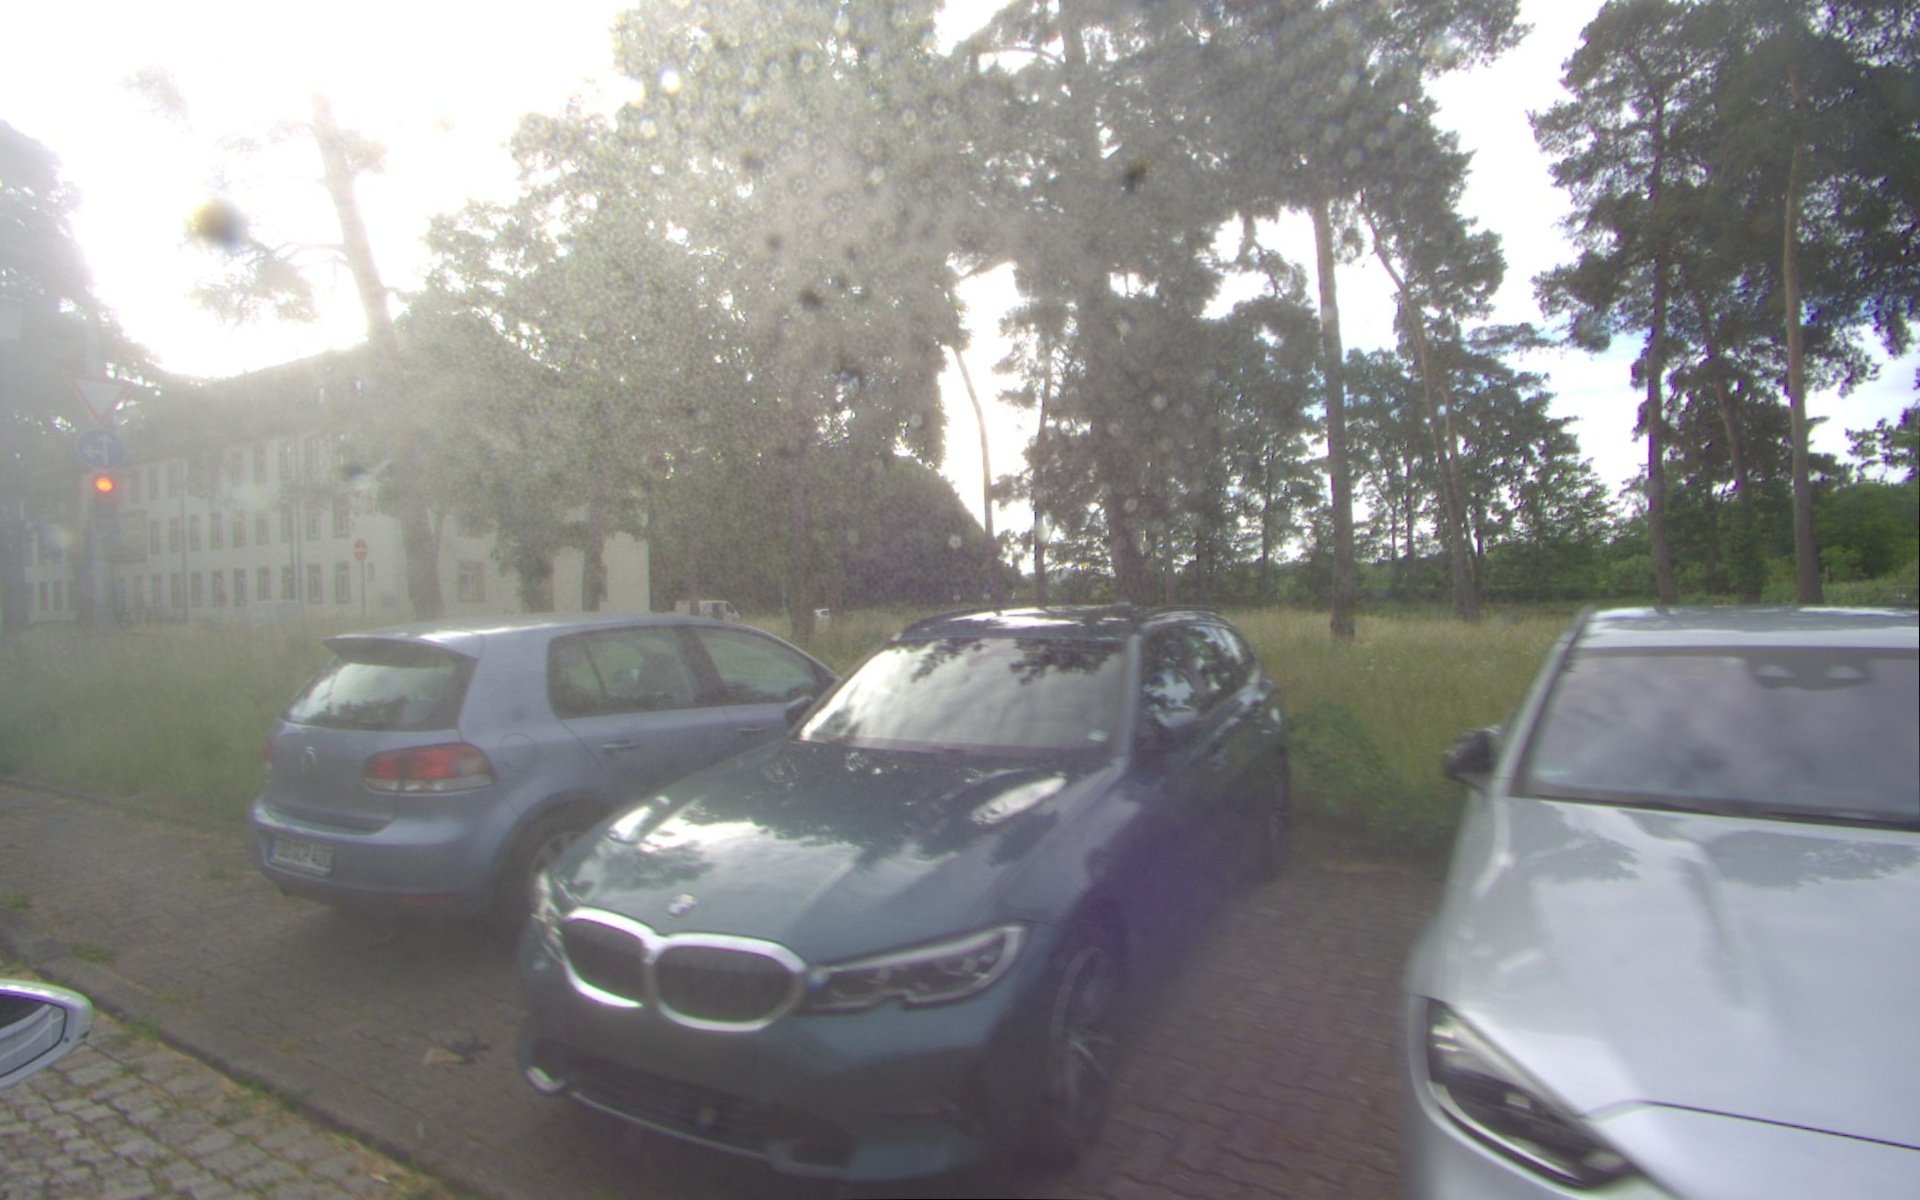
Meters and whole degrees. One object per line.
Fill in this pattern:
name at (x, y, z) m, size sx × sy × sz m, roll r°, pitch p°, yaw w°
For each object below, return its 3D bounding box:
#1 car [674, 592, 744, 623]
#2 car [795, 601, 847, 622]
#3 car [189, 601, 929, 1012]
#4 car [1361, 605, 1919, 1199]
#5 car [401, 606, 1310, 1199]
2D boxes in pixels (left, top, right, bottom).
car at (-19.462, 0.539, 77.738) m, size 2.182 × 2.319 × 5.168 m, roll 0°, pitch 0°, yaw 33°
car at (-10.067, 0.818, 72.714) m, size 1.972 × 1.528 × 3.474 m, roll 0°, pitch 0°, yaw 33°
car at (-1.858, 0.778, 5.766) m, size 1.582 × 1.446 × 3.755 m, roll 0°, pitch 2°, yaw 31°
car at (2.673, 0.797, 3.233) m, size 1.786 × 1.502 × 4.747 m, roll 0°, pitch 0°, yaw 32°
car at (0.287, 0.806, 4.556) m, size 1.734 × 1.502 × 4.752 m, roll 0°, pitch 0°, yaw 29°
